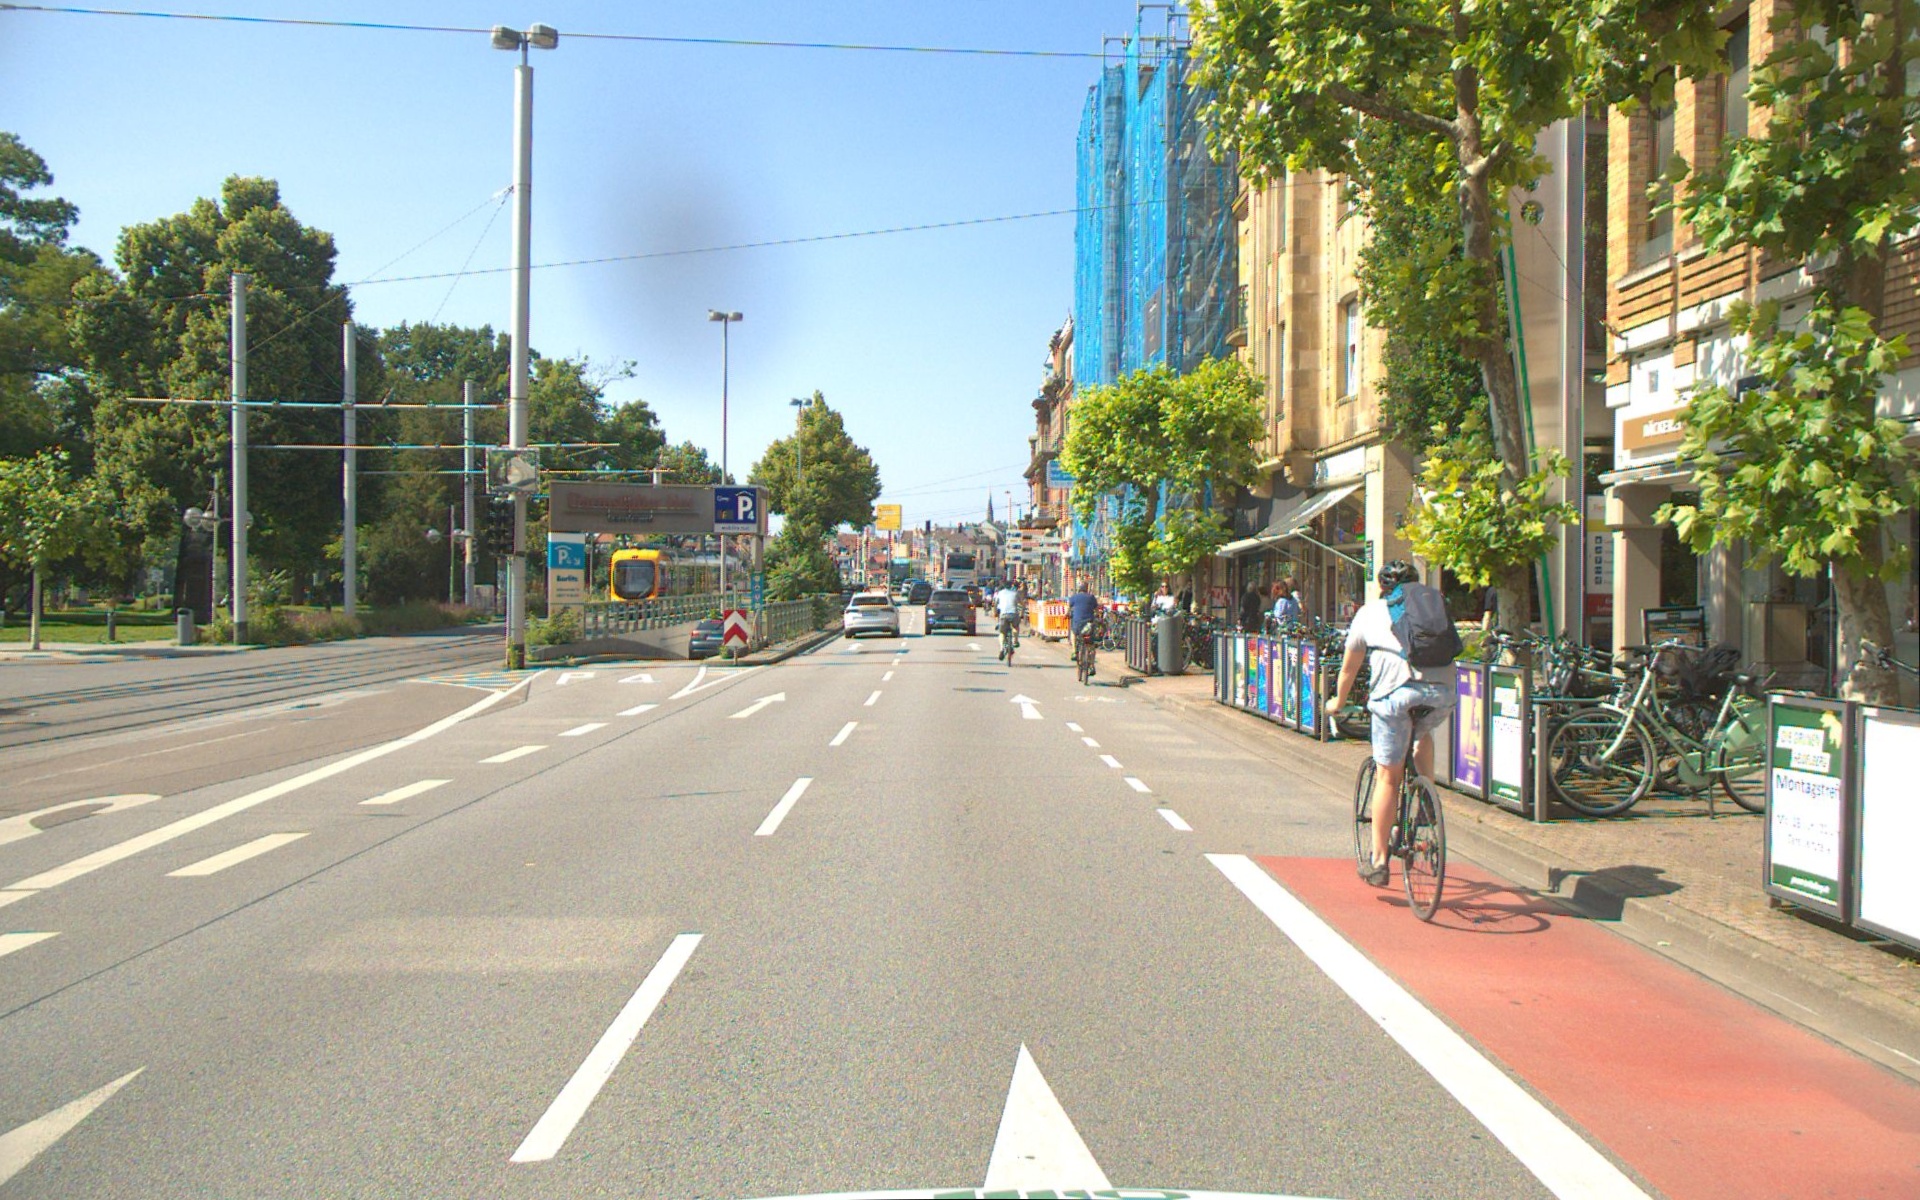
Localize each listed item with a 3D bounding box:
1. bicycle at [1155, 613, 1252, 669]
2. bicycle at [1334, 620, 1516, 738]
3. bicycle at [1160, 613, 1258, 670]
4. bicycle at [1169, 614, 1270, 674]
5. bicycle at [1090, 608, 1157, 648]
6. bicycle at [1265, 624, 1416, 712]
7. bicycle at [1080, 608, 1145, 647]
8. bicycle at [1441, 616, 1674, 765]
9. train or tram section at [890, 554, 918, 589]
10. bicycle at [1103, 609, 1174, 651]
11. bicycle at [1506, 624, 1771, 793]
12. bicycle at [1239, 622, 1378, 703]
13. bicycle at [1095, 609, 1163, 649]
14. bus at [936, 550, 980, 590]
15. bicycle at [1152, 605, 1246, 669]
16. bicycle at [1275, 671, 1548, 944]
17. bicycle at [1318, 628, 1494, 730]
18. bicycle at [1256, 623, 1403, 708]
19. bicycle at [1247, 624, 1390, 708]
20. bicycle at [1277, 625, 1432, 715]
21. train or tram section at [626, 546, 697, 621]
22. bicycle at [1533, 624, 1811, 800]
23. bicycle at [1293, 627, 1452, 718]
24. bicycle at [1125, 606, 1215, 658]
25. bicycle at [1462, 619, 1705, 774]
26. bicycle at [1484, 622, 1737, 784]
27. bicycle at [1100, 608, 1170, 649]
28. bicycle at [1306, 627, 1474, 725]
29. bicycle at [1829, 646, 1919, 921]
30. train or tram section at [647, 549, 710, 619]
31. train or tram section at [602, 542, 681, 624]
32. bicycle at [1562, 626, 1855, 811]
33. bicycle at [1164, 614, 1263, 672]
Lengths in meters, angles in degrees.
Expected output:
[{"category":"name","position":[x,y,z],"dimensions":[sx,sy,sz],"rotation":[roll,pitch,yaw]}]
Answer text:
[{"category":"bicycle","position":[4.589,0.774,31.222],"dimensions":[1.717,1.036,0.557],"rotation":[1,0,-3]},{"category":"bicycle","position":[4.739,0.799,16.887],"dimensions":[1.717,1.167,0.482],"rotation":[1,0,-3]},{"category":"bicycle","position":[4.595,0.765,30.605],"dimensions":[1.717,1.036,0.587],"rotation":[0,0,-3]},{"category":"bicycle","position":[4.620,0.782,29.457],"dimensions":[1.717,1.036,0.482],"rotation":[1,0,-3]},{"category":"bicycle","position":[4.347,0.747,43.991],"dimensions":[1.717,1.036,0.482],"rotation":[1,0,-3]},{"category":"bicycle","position":[4.624,0.818,20.139],"dimensions":[1.717,1.036,0.482],"rotation":[1,0,-3]},{"category":"bicycle","position":[4.189,0.753,45.395],"dimensions":[1.717,1.036,0.482],"rotation":[1,0,-3]},{"category":"bicycle","position":[4.812,0.725,13.365],"dimensions":[1.717,1.167,0.482],"rotation":[1,0,-3]},{"category":"train or tram section","position":[-6.234,-3.048,182.501],"dimensions":[2.766,3.643,10.026],"rotation":[2,0,-3]},{"category":"bicycle","position":[4.469,0.745,41.536],"dimensions":[1.717,1.036,0.482],"rotation":[1,0,-3]},{"category":"bicycle","position":[4.860,0.771,11.878],"dimensions":[1.717,1.167,0.482],"rotation":[1,0,-3]},{"category":"bicycle","position":[4.573,0.819,21.726],"dimensions":[1.717,1.036,0.482],"rotation":[1,0,-3]},{"category":"bicycle","position":[4.423,0.753,43.387],"dimensions":[1.717,1.036,0.482],"rotation":[1,0,-3]},{"category":"bus","position":[-0.195,-2.196,124.630],"dimensions":[2.909,2.825,8.637],"rotation":[2,0,-2]},{"category":"bicycle","position":[4.591,0.708,31.824],"dimensions":[1.717,1.202,0.579],"rotation":[1,0,-3]},{"category":"bicycle","position":[2.247,0.984,8.544],"dimensions":[0.719,1.112,2.130],"rotation":[2,0,-2]},{"category":"bicycle","position":[4.691,0.829,17.439],"dimensions":[1.717,1.036,0.482],"rotation":[1,0,-3]},{"category":"bicycle","position":[4.605,0.815,20.664],"dimensions":[1.717,1.036,0.482],"rotation":[1,0,-3]},{"category":"bicycle","position":[4.588,0.839,21.210],"dimensions":[1.717,1.036,0.482],"rotation":[1,0,-3]},{"category":"bicycle","position":[4.658,0.821,19.568],"dimensions":[1.717,1.036,0.482],"rotation":[1,0,-3]},{"category":"train or tram section","position":[-15.274,-0.833,84.956],"dimensions":[2.560,3.643,6.102],"rotation":[2,0,-1]},{"category":"bicycle","position":[4.878,0.757,11.369],"dimensions":[1.717,1.167,0.482],"rotation":[1,0,-3]},{"category":"bicycle","position":[4.692,0.822,18.846],"dimensions":[1.683,1.002,0.482],"rotation":[1,0,-3]},{"category":"bicycle","position":[4.313,0.647,33.942],"dimensions":[1.717,1.036,0.657],"rotation":[1,0,22]},{"category":"bicycle","position":[4.833,0.741,12.867],"dimensions":[1.717,1.167,0.482],"rotation":[1,0,-3]},{"category":"bicycle","position":[4.853,0.759,12.373],"dimensions":[1.717,1.167,0.482],"rotation":[1,0,-3]},{"category":"bicycle","position":[4.494,0.723,42.470],"dimensions":[1.720,1.036,0.482],"rotation":[0,0,-10]},{"category":"bicycle","position":[4.687,0.826,18.068],"dimensions":[1.717,1.036,0.482],"rotation":[1,0,-3]},{"category":"bicycle","position":[4.864,0.806,7.409],"dimensions":[1.717,1.167,0.482],"rotation":[1,0,-3]},{"category":"train or tram section","position":[-15.375,-0.858,90.668],"dimensions":[2.560,3.643,5.355],"rotation":[2,0,-1]},{"category":"train or tram section","position":[-15.127,-0.804,78.868],"dimensions":[2.561,3.643,6.102],"rotation":[2,0,-1]},{"category":"bicycle","position":[4.890,0.766,10.837],"dimensions":[1.717,1.167,0.482],"rotation":[1,0,-3]},{"category":"bicycle","position":[4.602,0.779,30.026],"dimensions":[1.717,1.036,0.482],"rotation":[1,0,-3]}]
